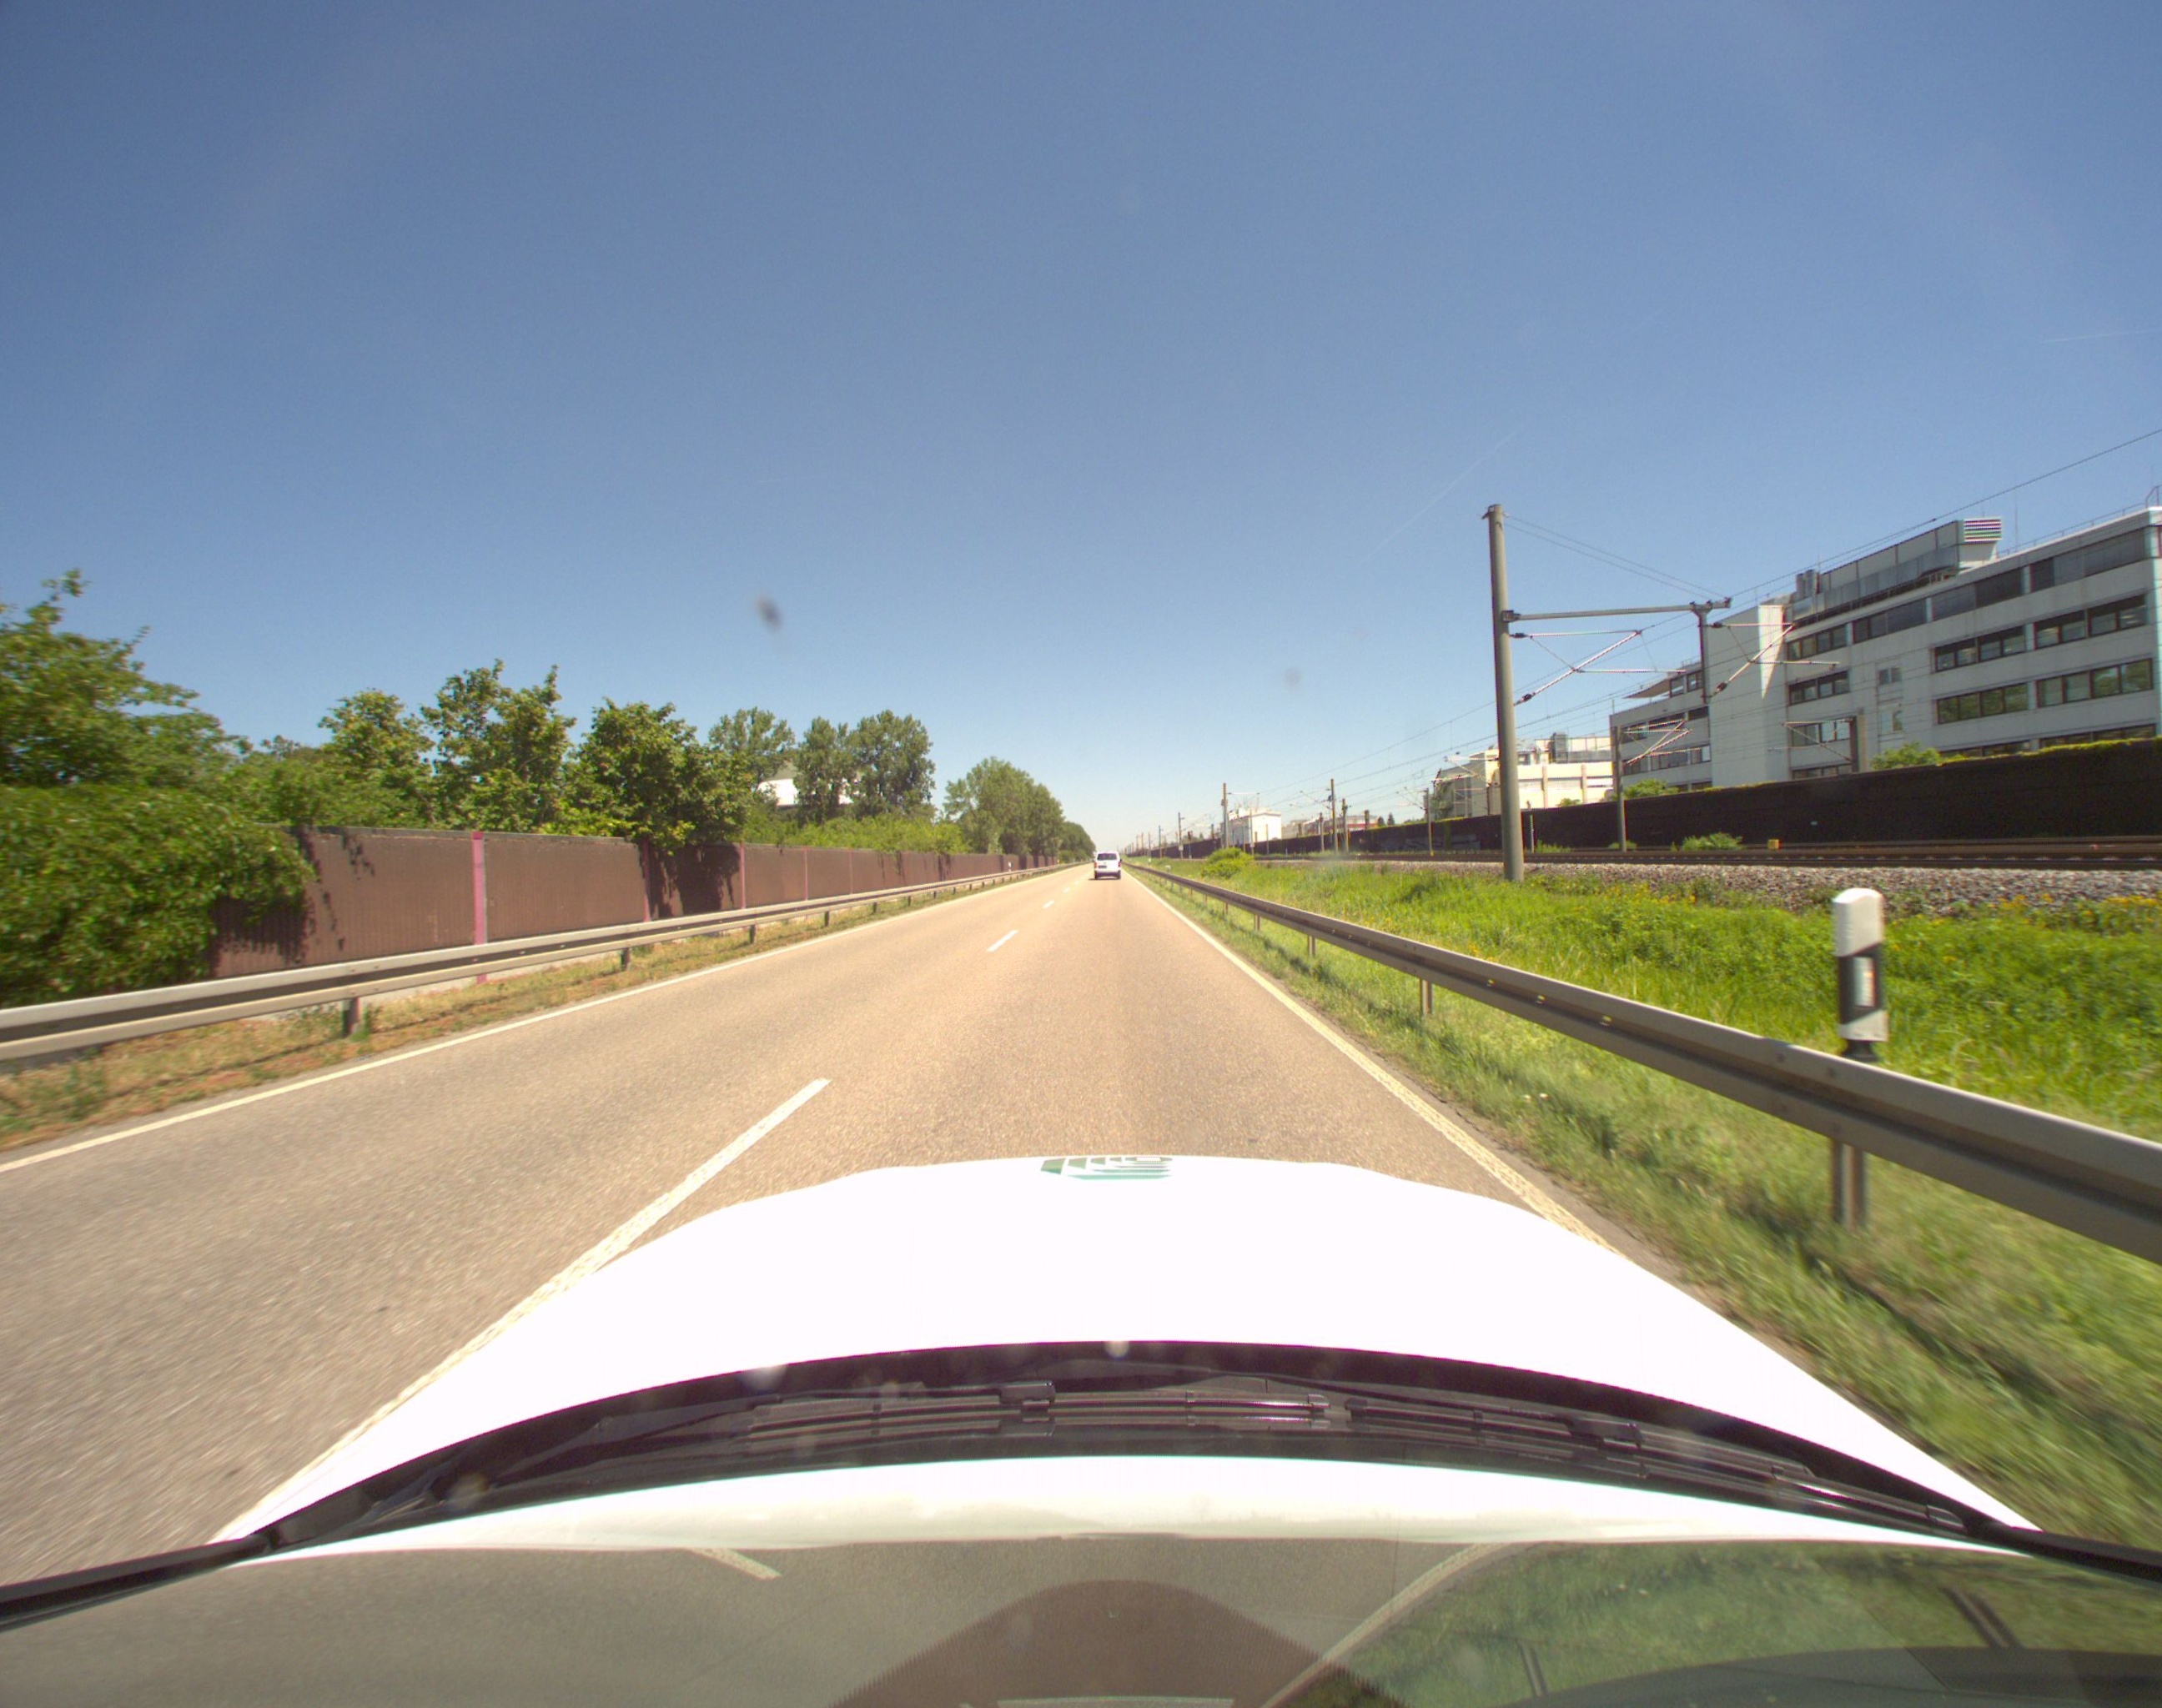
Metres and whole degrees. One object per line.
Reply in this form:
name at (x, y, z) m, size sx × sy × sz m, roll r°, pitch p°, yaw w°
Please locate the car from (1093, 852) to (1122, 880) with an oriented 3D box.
car at (1.907, 0.834, 57.624) m, size 1.986 × 1.850 × 4.002 m, roll 0°, pitch 0°, yaw 2°
